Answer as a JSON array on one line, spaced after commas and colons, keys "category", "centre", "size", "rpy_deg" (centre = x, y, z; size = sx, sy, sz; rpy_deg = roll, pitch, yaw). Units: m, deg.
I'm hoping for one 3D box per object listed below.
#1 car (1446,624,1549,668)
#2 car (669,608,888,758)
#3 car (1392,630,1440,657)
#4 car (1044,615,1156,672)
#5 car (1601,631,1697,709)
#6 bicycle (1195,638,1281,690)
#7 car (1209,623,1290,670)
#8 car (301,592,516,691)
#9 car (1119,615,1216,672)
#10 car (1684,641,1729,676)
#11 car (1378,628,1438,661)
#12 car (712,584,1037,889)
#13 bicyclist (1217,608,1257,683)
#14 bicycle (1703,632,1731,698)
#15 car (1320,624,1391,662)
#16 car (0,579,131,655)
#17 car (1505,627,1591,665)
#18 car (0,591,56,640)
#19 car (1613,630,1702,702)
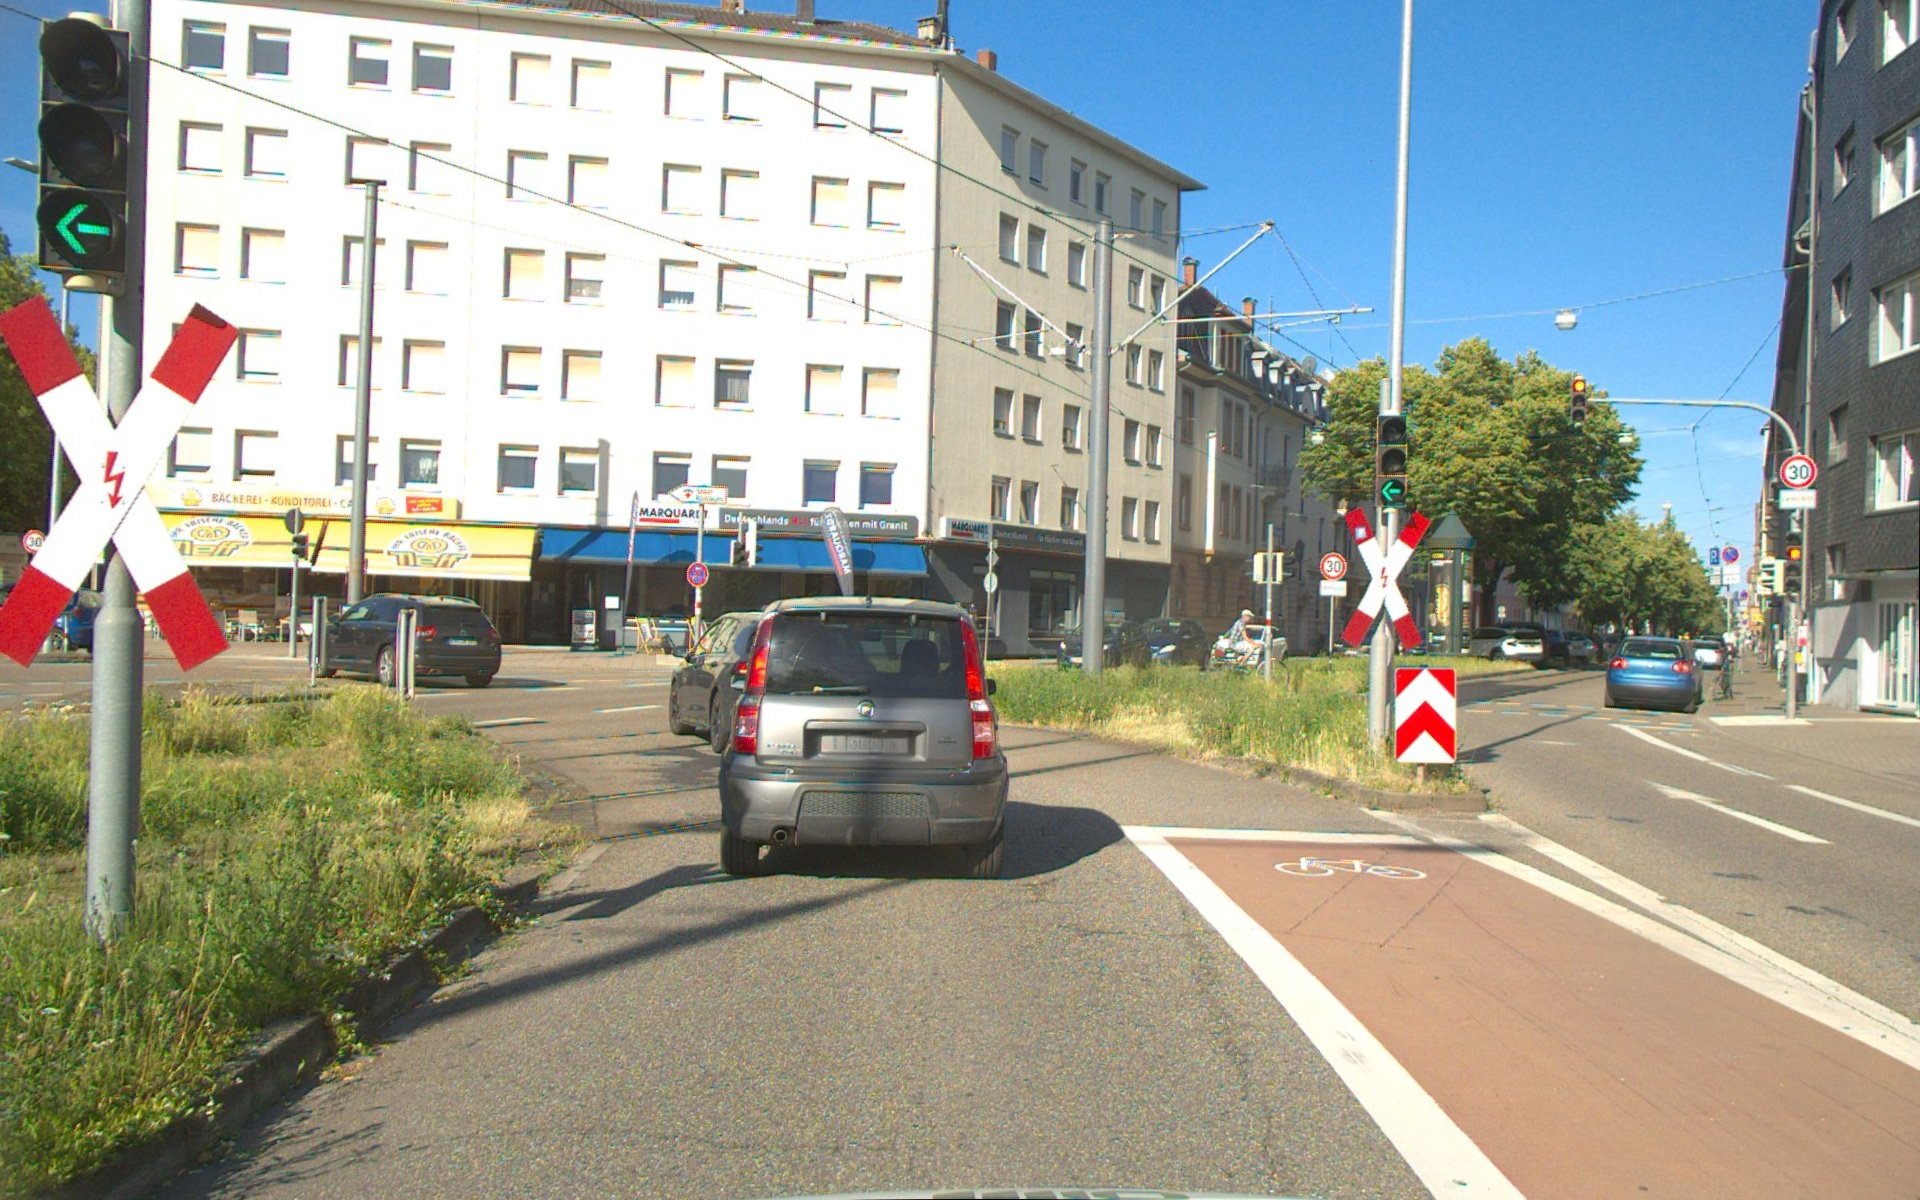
[{"category": "car", "centre": [21.596, 1.847, 66.609], "size": [1.877, 1.622, 3.975], "rpy_deg": [2, -1, -21]}, {"category": "car", "centre": [-2.097, 0.843, 18.211], "size": [1.597, 1.454, 3.667], "rpy_deg": [2, -1, -19]}, {"category": "car", "centre": [25.756, 2.428, 93.422], "size": [1.954, 1.420, 3.997], "rpy_deg": [1, -1, 25]}, {"category": "car", "centre": [3.845, 1.166, 44.936], "size": [1.755, 1.420, 3.721], "rpy_deg": [1, -1, 26]}, {"category": "car", "centre": [14.442, 1.417, 34.600], "size": [1.739, 1.468, 3.616], "rpy_deg": [2, 0, 24]}, {"category": "bicycle", "centre": [6.006, 1.377, 35.758], "size": [1.812, 1.050, 0.589], "rpy_deg": [2, -1, 9]}, {"category": "car", "centre": [9.923, 1.593, 56.573], "size": [1.755, 1.509, 3.528], "rpy_deg": [1, -1, 27]}, {"category": "car", "centre": [-9.467, 0.669, 28.245], "size": [4.221, 1.512, 1.753], "rpy_deg": [1, -1, 45]}, {"category": "car", "centre": [6.351, 1.313, 50.229], "size": [1.755, 1.593, 3.762], "rpy_deg": [1, -1, 26]}, {"category": "car", "centre": [38.666, 3.047, 85.623], "size": [1.955, 1.646, 3.995], "rpy_deg": [2, -2, 27]}, {"category": "car", "centre": [21.765, 2.155, 80.271], "size": [1.955, 1.513, 3.994], "rpy_deg": [1, -1, 28]}, {"category": "car", "centre": [-0.613, 0.722, 10.118], "size": [1.628, 1.536, 3.246], "rpy_deg": [2, -1, -7]}, {"category": "bicyclist", "centre": [5.985, 0.978, 35.769], "size": [0.803, 1.586, 0.562], "rpy_deg": [1, -1, 9]}, {"category": "bicycle", "centre": [18.363, 1.551, 40.107], "size": [0.562, 1.537, 2.805], "rpy_deg": [1, -1, 25]}, {"category": "car", "centre": [16.668, 1.806, 69.606], "size": [1.955, 1.499, 3.994], "rpy_deg": [1, -1, 28]}, {"category": "car", "centre": [-19.251, 0.331, 34.306], "size": [3.313, 1.463, 1.652], "rpy_deg": [2, -1, 12]}, {"category": "car", "centre": [30.007, 2.335, 84.453], "size": [3.747, 1.817, 1.832], "rpy_deg": [1, -1, 39]}, {"category": "car", "centre": [-27.149, 0.399, 46.256], "size": [1.956, 1.333, 3.992], "rpy_deg": [2, -1, -8]}, {"category": "car", "centre": [16.514, 1.511, 39.081], "size": [1.783, 1.534, 3.997], "rpy_deg": [1, 0, 25]}]
